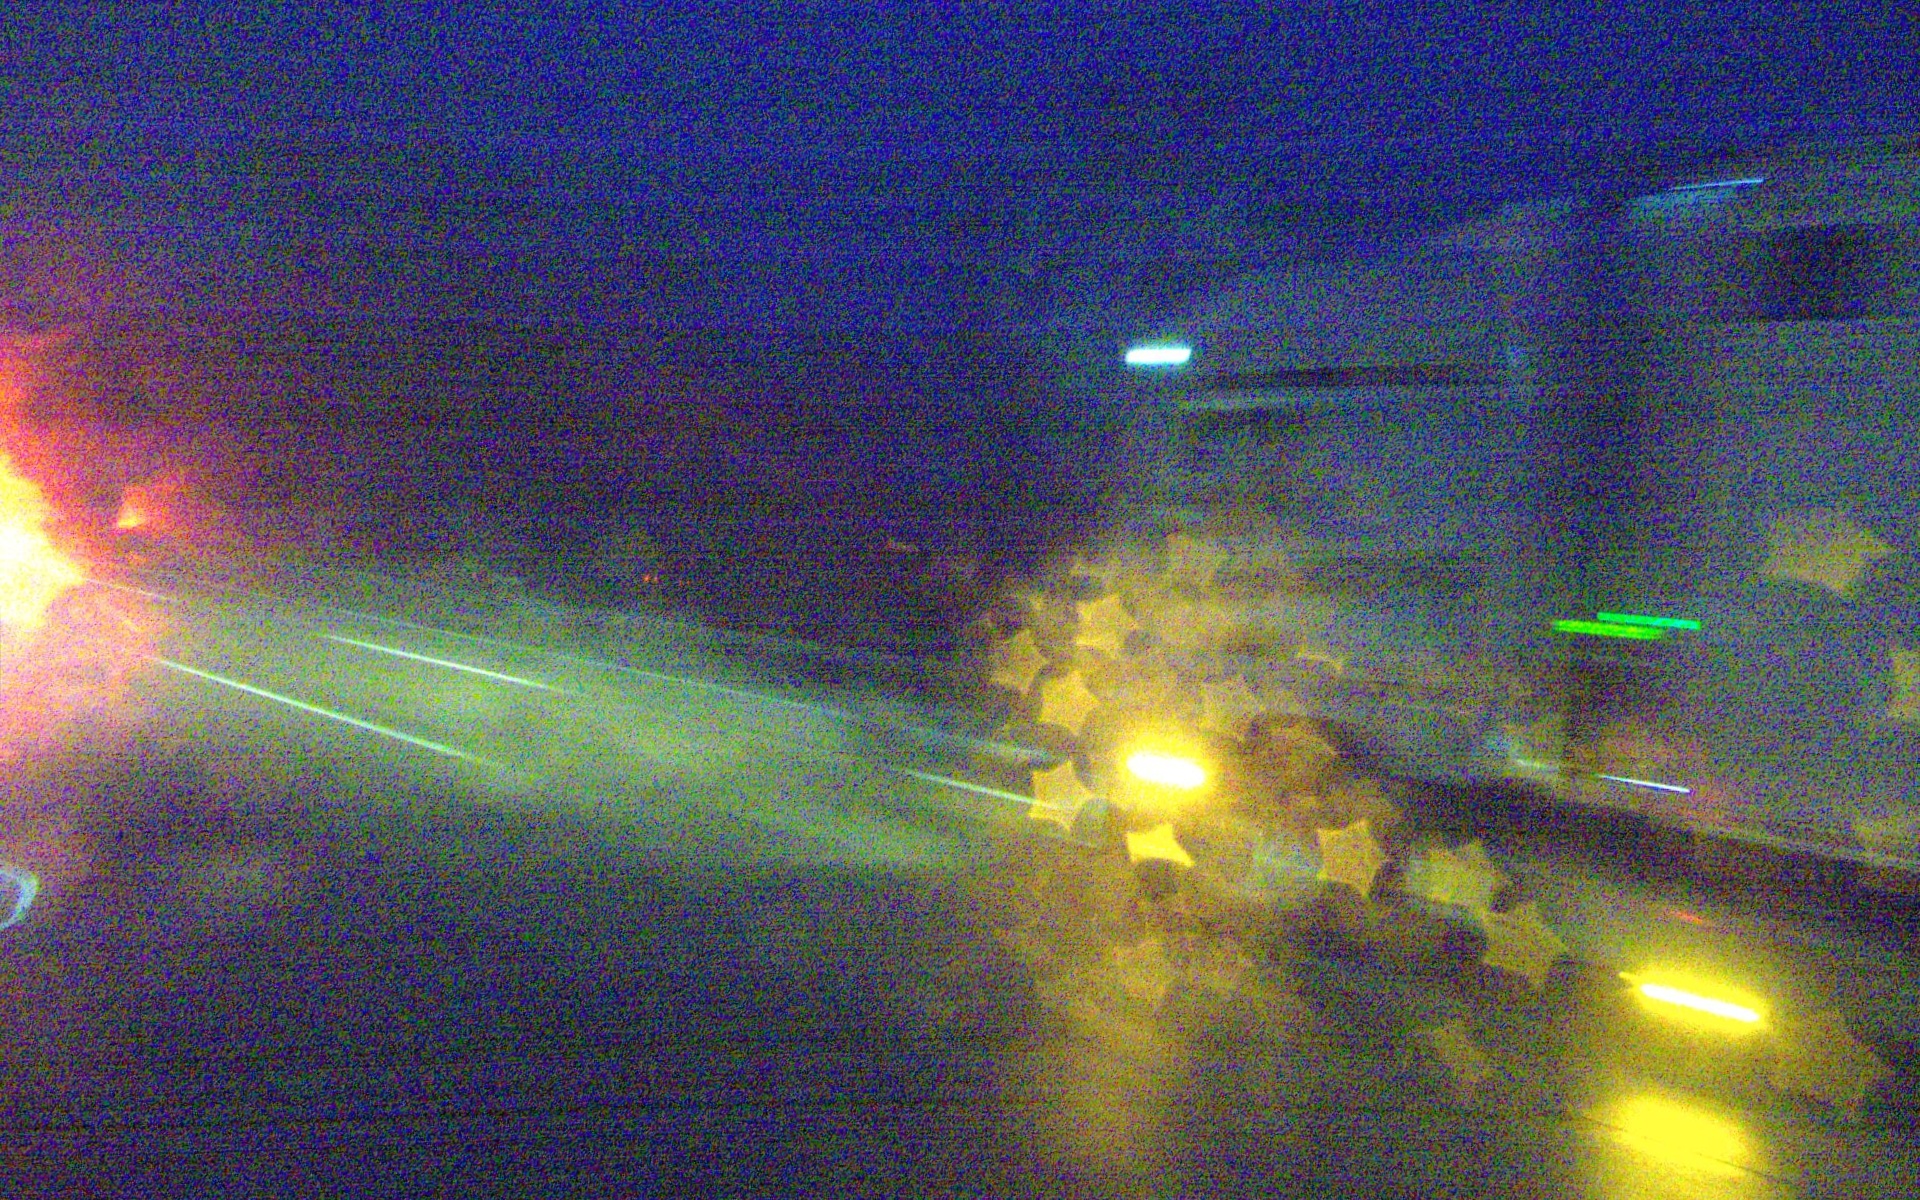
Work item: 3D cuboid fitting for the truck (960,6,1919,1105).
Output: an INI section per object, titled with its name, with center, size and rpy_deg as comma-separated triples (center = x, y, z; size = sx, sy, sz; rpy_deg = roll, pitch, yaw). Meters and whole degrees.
[truck]
center = 4.074, -0.147, 5.398
size = 7.324, 4.317, 2.809
rpy_deg = 7, -1, 32

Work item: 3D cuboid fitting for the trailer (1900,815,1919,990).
[trailer]
center = 10.133, 0.555, 1.618
size = 11.896, 4.262, 2.809
rpy_deg = 7, -1, 32
